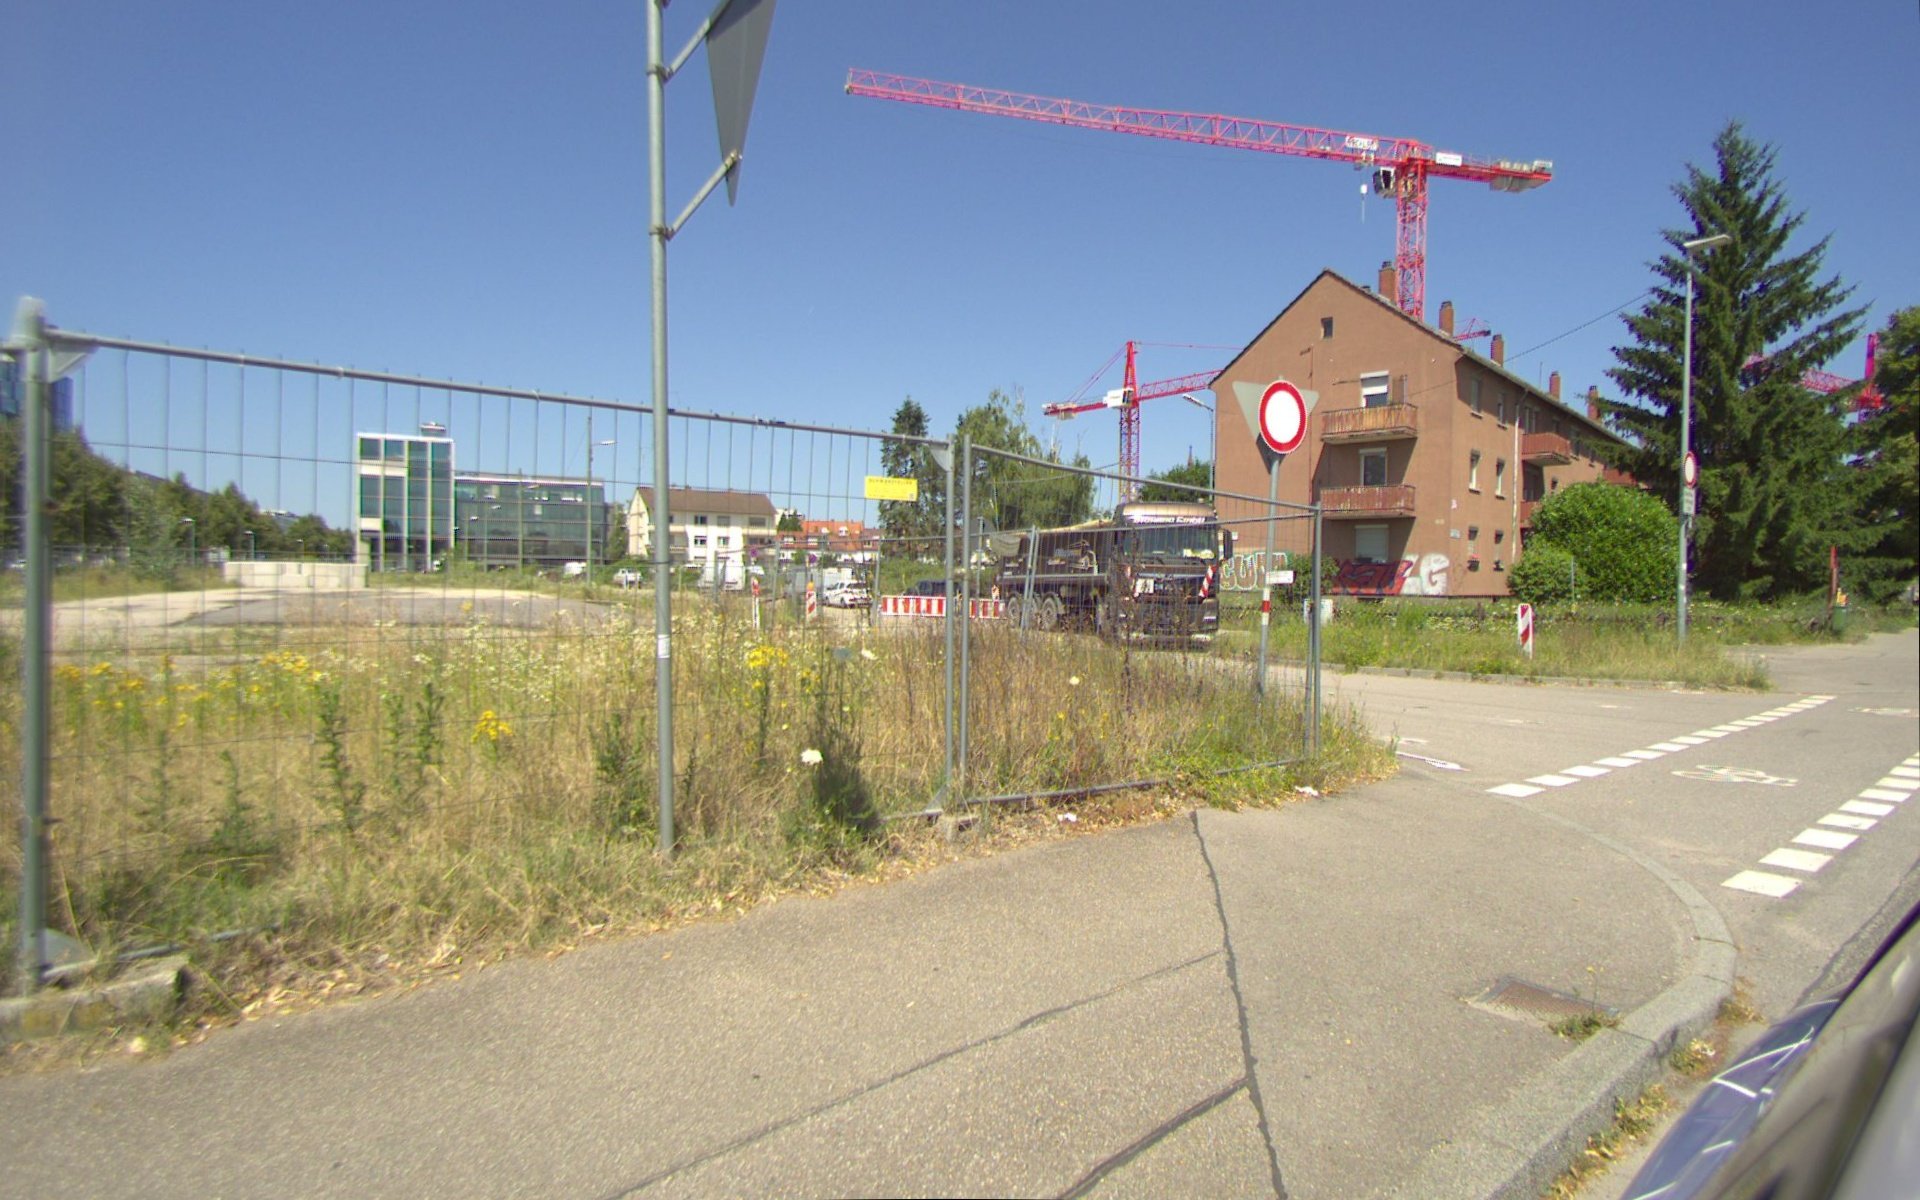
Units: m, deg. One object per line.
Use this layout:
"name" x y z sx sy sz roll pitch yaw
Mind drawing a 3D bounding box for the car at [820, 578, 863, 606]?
"car" -6.386 -0.466 54.464 1.390 1.423 2.795 -1 2 -28

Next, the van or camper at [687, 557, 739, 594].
"van or camper" -18.433 -1.837 75.189 1.891 2.634 7.012 0 1 -29

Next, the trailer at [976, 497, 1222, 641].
"trailer" 3.663 -0.873 29.910 3.098 3.576 9.012 0 1 -22

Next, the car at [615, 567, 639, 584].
"car" -33.794 -2.461 102.739 1.647 1.606 3.626 -1 1 -29

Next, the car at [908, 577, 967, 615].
"car" -1.078 -0.219 46.284 1.342 1.633 3.424 0 1 -27

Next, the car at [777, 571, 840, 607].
"car" -8.936 -0.693 59.312 1.751 2.039 4.683 0 1 -35

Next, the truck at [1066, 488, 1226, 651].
"truck" 4.384 -0.737 24.991 3.106 3.577 4.963 1 1 2

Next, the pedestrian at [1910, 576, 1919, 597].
"pedestrian" 69.389 -0.964 73.122 0.670 1.536 1.024 0 1 -40
